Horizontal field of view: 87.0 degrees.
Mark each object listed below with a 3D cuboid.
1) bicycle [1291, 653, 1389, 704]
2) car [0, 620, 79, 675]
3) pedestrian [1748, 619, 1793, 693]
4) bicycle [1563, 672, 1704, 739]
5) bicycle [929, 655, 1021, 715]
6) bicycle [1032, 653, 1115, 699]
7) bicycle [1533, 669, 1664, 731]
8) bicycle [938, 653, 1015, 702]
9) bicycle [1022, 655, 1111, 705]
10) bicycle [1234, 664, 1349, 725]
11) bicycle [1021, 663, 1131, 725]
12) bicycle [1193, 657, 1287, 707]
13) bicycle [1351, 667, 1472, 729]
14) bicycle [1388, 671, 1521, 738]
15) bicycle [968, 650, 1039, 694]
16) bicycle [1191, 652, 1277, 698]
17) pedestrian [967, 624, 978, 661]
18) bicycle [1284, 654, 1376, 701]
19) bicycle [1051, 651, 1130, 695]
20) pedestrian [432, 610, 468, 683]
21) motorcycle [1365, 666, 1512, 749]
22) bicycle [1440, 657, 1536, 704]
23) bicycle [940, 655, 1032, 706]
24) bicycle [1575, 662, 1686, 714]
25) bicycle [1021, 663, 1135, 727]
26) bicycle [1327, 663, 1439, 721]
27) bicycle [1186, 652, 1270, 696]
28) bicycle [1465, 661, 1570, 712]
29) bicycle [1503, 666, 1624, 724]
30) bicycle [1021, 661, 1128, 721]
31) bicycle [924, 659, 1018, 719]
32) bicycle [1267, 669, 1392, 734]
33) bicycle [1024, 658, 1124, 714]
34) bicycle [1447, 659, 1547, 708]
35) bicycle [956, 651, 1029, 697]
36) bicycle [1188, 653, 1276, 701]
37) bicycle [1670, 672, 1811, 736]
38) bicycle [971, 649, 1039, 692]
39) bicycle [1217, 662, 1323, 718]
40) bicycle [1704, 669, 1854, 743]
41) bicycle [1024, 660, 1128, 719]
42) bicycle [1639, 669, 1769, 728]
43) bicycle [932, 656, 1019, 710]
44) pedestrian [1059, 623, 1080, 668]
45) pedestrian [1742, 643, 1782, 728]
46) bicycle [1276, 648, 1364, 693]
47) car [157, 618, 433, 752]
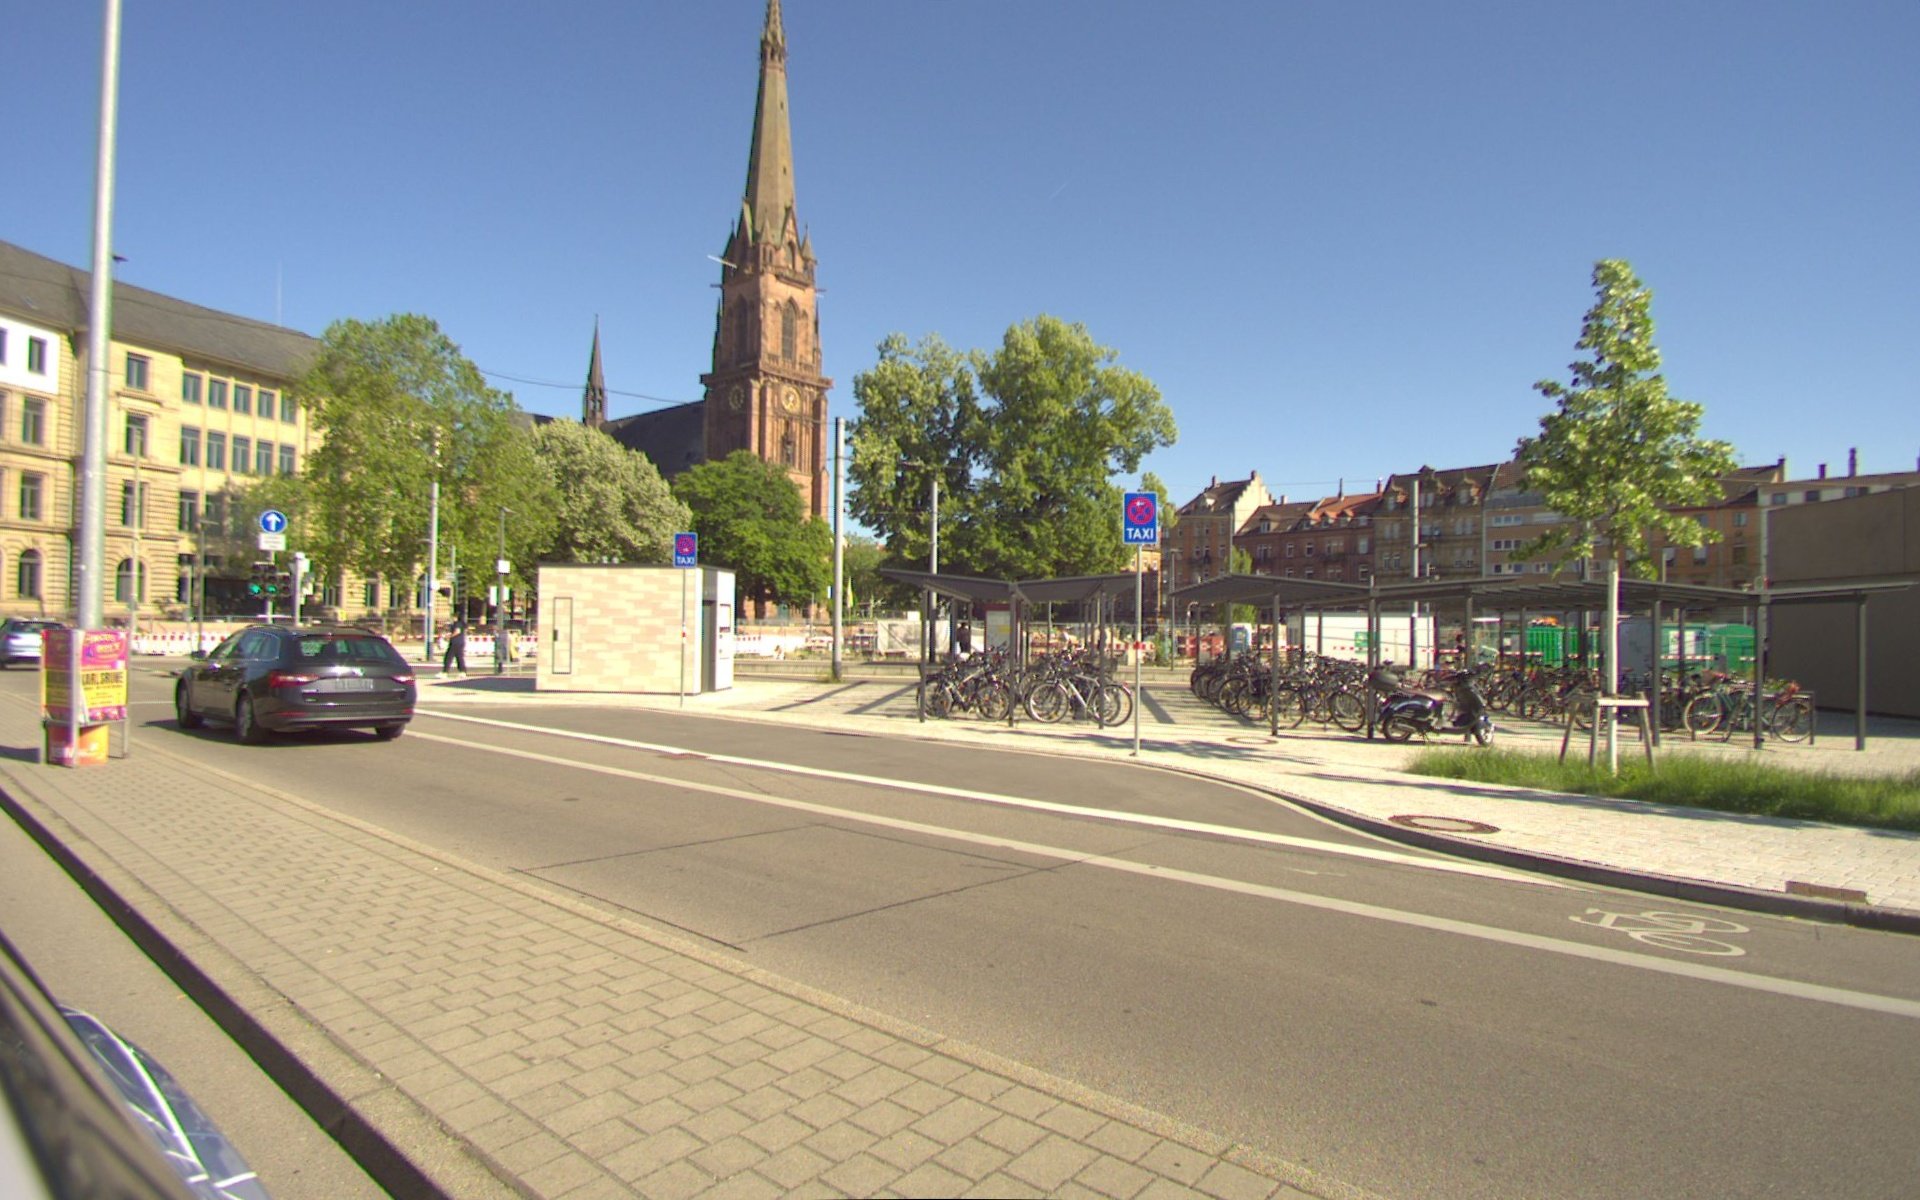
[{"bbox_3d":[8.061,1.660,21.518,1.882,1.016,0.456,0,-2,8],"label":"bicycle"},{"bbox_3d":[-28.553,1.433,31.057,4.241,1.554,1.835,-1,-4,44],"label":"car"},{"bbox_3d":[20.474,1.408,25.578,0.676,1.848,0.564,0,-2,8],"label":"pedestrian"},{"bbox_3d":[10.977,1.717,16.536,1.882,1.016,0.456,0,-2,8],"label":"bicycle"},{"bbox_3d":[0.284,1.566,18.776,1.652,1.069,0.456,0,-2,8],"label":"bicycle"},{"bbox_3d":[2.611,1.747,23.303,1.882,1.016,0.456,0,-2,8],"label":"bicycle"},{"bbox_3d":[11.105,1.732,17.640,1.882,1.016,0.456,0,-2,8],"label":"bicycle"},{"bbox_3d":[0.376,1.690,22.224,1.652,1.016,0.456,0,-2,8],"label":"bicycle"},{"bbox_3d":[2.302,1.722,21.920,1.882,1.016,0.456,0,-2,8],"label":"bicycle"},{"bbox_3d":[5.904,1.683,18.092,1.882,1.016,0.456,0,-2,8],"label":"bicycle"},{"bbox_3d":[2.024,1.624,17.673,1.882,1.016,0.456,0,-2,8],"label":"bicycle"},{"bbox_3d":[5.970,1.746,21.608,1.882,1.016,0.456,0,-2,8],"label":"bicycle"},{"bbox_3d":[7.899,1.708,17.762,1.882,1.016,0.456,0,-2,8],"label":"bicycle"},{"bbox_3d":[8.033,1.691,16.493,1.882,1.016,0.456,0,-2,8],"label":"bicycle"},{"bbox_3d":[1.047,1.714,24.226,1.652,1.016,0.456,0,-2,8],"label":"bicycle"},{"bbox_3d":[6.371,1.731,23.566,1.882,1.016,0.456,0,-2,8],"label":"bicycle"},{"bbox_3d":[0.592,1.993,47.615,0.399,1.734,0.419,1,-2,-11],"label":"pedestrian"},{"bbox_3d":[8.320,1.735,22.817,1.882,1.016,0.456,0,-2,8],"label":"bicycle"},{"bbox_3d":[3.167,1.776,24.598,1.882,1.016,0.456,0,-2,8],"label":"bicycle"},{"bbox_3d":[-13.379,1.210,26.537,0.683,1.868,0.680,2,-2,-38],"label":"pedestrian"},{"bbox_3d":[7.166,1.602,15.224,1.924,1.160,0.516,0,-2,6],"label":"motorcycle"},{"bbox_3d":[12.083,1.835,23.193,1.882,1.016,0.456,0,-2,8],"label":"bicycle"},{"bbox_3d":[0.548,1.675,21.226,1.882,1.016,0.456,0,-2,8],"label":"bicycle"},{"bbox_3d":[13.878,1.817,20.969,1.882,1.016,0.456,0,-2,8],"label":"bicycle"},{"bbox_3d":[1.994,1.602,17.113,1.882,1.016,0.456,0,-2,8],"label":"bicycle"},{"bbox_3d":[7.922,1.712,18.995,1.882,1.016,0.456,0,-2,8],"label":"bicycle"},{"bbox_3d":[6.398,1.762,24.224,1.882,1.016,0.456,0,-2,8],"label":"bicycle"},{"bbox_3d":[11.719,1.814,21.312,1.882,1.016,0.456,0,-2,8],"label":"bicycle"},{"bbox_3d":[11.168,1.755,18.756,1.882,1.016,0.456,0,-2,8],"label":"bicycle"},{"bbox_3d":[2.059,1.633,18.260,1.882,1.016,0.456,0,-2,8],"label":"bicycle"},{"bbox_3d":[0.206,1.585,18.190,1.652,1.016,0.456,0,-2,8],"label":"bicycle"},{"bbox_3d":[6.126,1.682,16.839,1.882,1.016,0.456,0,-2,8],"label":"bicycle"},{"bbox_3d":[2.201,1.659,19.584,1.882,1.016,0.456,0,-2,8],"label":"bicycle"},{"bbox_3d":[11.788,1.824,22.242,1.882,1.016,0.456,0,-2,8],"label":"bicycle"},{"bbox_3d":[0.751,1.709,23.481,1.652,1.016,0.456,0,-2,8],"label":"bicycle"},{"bbox_3d":[6.154,1.737,22.942,1.882,1.016,0.456,0,-2,8],"label":"bicycle"},{"bbox_3d":[13.133,1.742,17.064,1.882,1.016,0.456,0,-2,8],"label":"bicycle"},{"bbox_3d":[1.112,1.729,24.942,1.652,1.016,0.456,0,-2,8],"label":"bicycle"},{"bbox_3d":[5.902,1.708,19.322,1.882,1.016,0.456,0,-2,8],"label":"bicycle"},{"bbox_3d":[13.086,1.684,16.205,1.882,1.106,0.456,0,-2,8],"label":"bicycle"},{"bbox_3d":[2.141,1.645,18.743,1.882,1.016,0.456,0,-2,8],"label":"bicycle"},{"bbox_3d":[13.474,1.776,18.363,1.882,1.016,0.456,0,-2,8],"label":"bicycle"},{"bbox_3d":[0.310,1.625,19.887,1.652,1.016,0.456,0,-2,8],"label":"bicycle"},{"bbox_3d":[4.437,1.833,41.182,0.792,1.793,0.977,0,-2,3],"label":"pedestrian"},{"bbox_3d":[19.724,2.081,24.890,0.718,2.029,0.678,-1,-3,41],"label":"pedestrian"},{"bbox_3d":[8.491,1.652,23.909,1.882,1.016,0.456,0,-2,8],"label":"bicycle"},{"bbox_3d":[-9.001,1.028,13.546,4.571,1.511,1.771,-1,-3,39],"label":"car"}]
